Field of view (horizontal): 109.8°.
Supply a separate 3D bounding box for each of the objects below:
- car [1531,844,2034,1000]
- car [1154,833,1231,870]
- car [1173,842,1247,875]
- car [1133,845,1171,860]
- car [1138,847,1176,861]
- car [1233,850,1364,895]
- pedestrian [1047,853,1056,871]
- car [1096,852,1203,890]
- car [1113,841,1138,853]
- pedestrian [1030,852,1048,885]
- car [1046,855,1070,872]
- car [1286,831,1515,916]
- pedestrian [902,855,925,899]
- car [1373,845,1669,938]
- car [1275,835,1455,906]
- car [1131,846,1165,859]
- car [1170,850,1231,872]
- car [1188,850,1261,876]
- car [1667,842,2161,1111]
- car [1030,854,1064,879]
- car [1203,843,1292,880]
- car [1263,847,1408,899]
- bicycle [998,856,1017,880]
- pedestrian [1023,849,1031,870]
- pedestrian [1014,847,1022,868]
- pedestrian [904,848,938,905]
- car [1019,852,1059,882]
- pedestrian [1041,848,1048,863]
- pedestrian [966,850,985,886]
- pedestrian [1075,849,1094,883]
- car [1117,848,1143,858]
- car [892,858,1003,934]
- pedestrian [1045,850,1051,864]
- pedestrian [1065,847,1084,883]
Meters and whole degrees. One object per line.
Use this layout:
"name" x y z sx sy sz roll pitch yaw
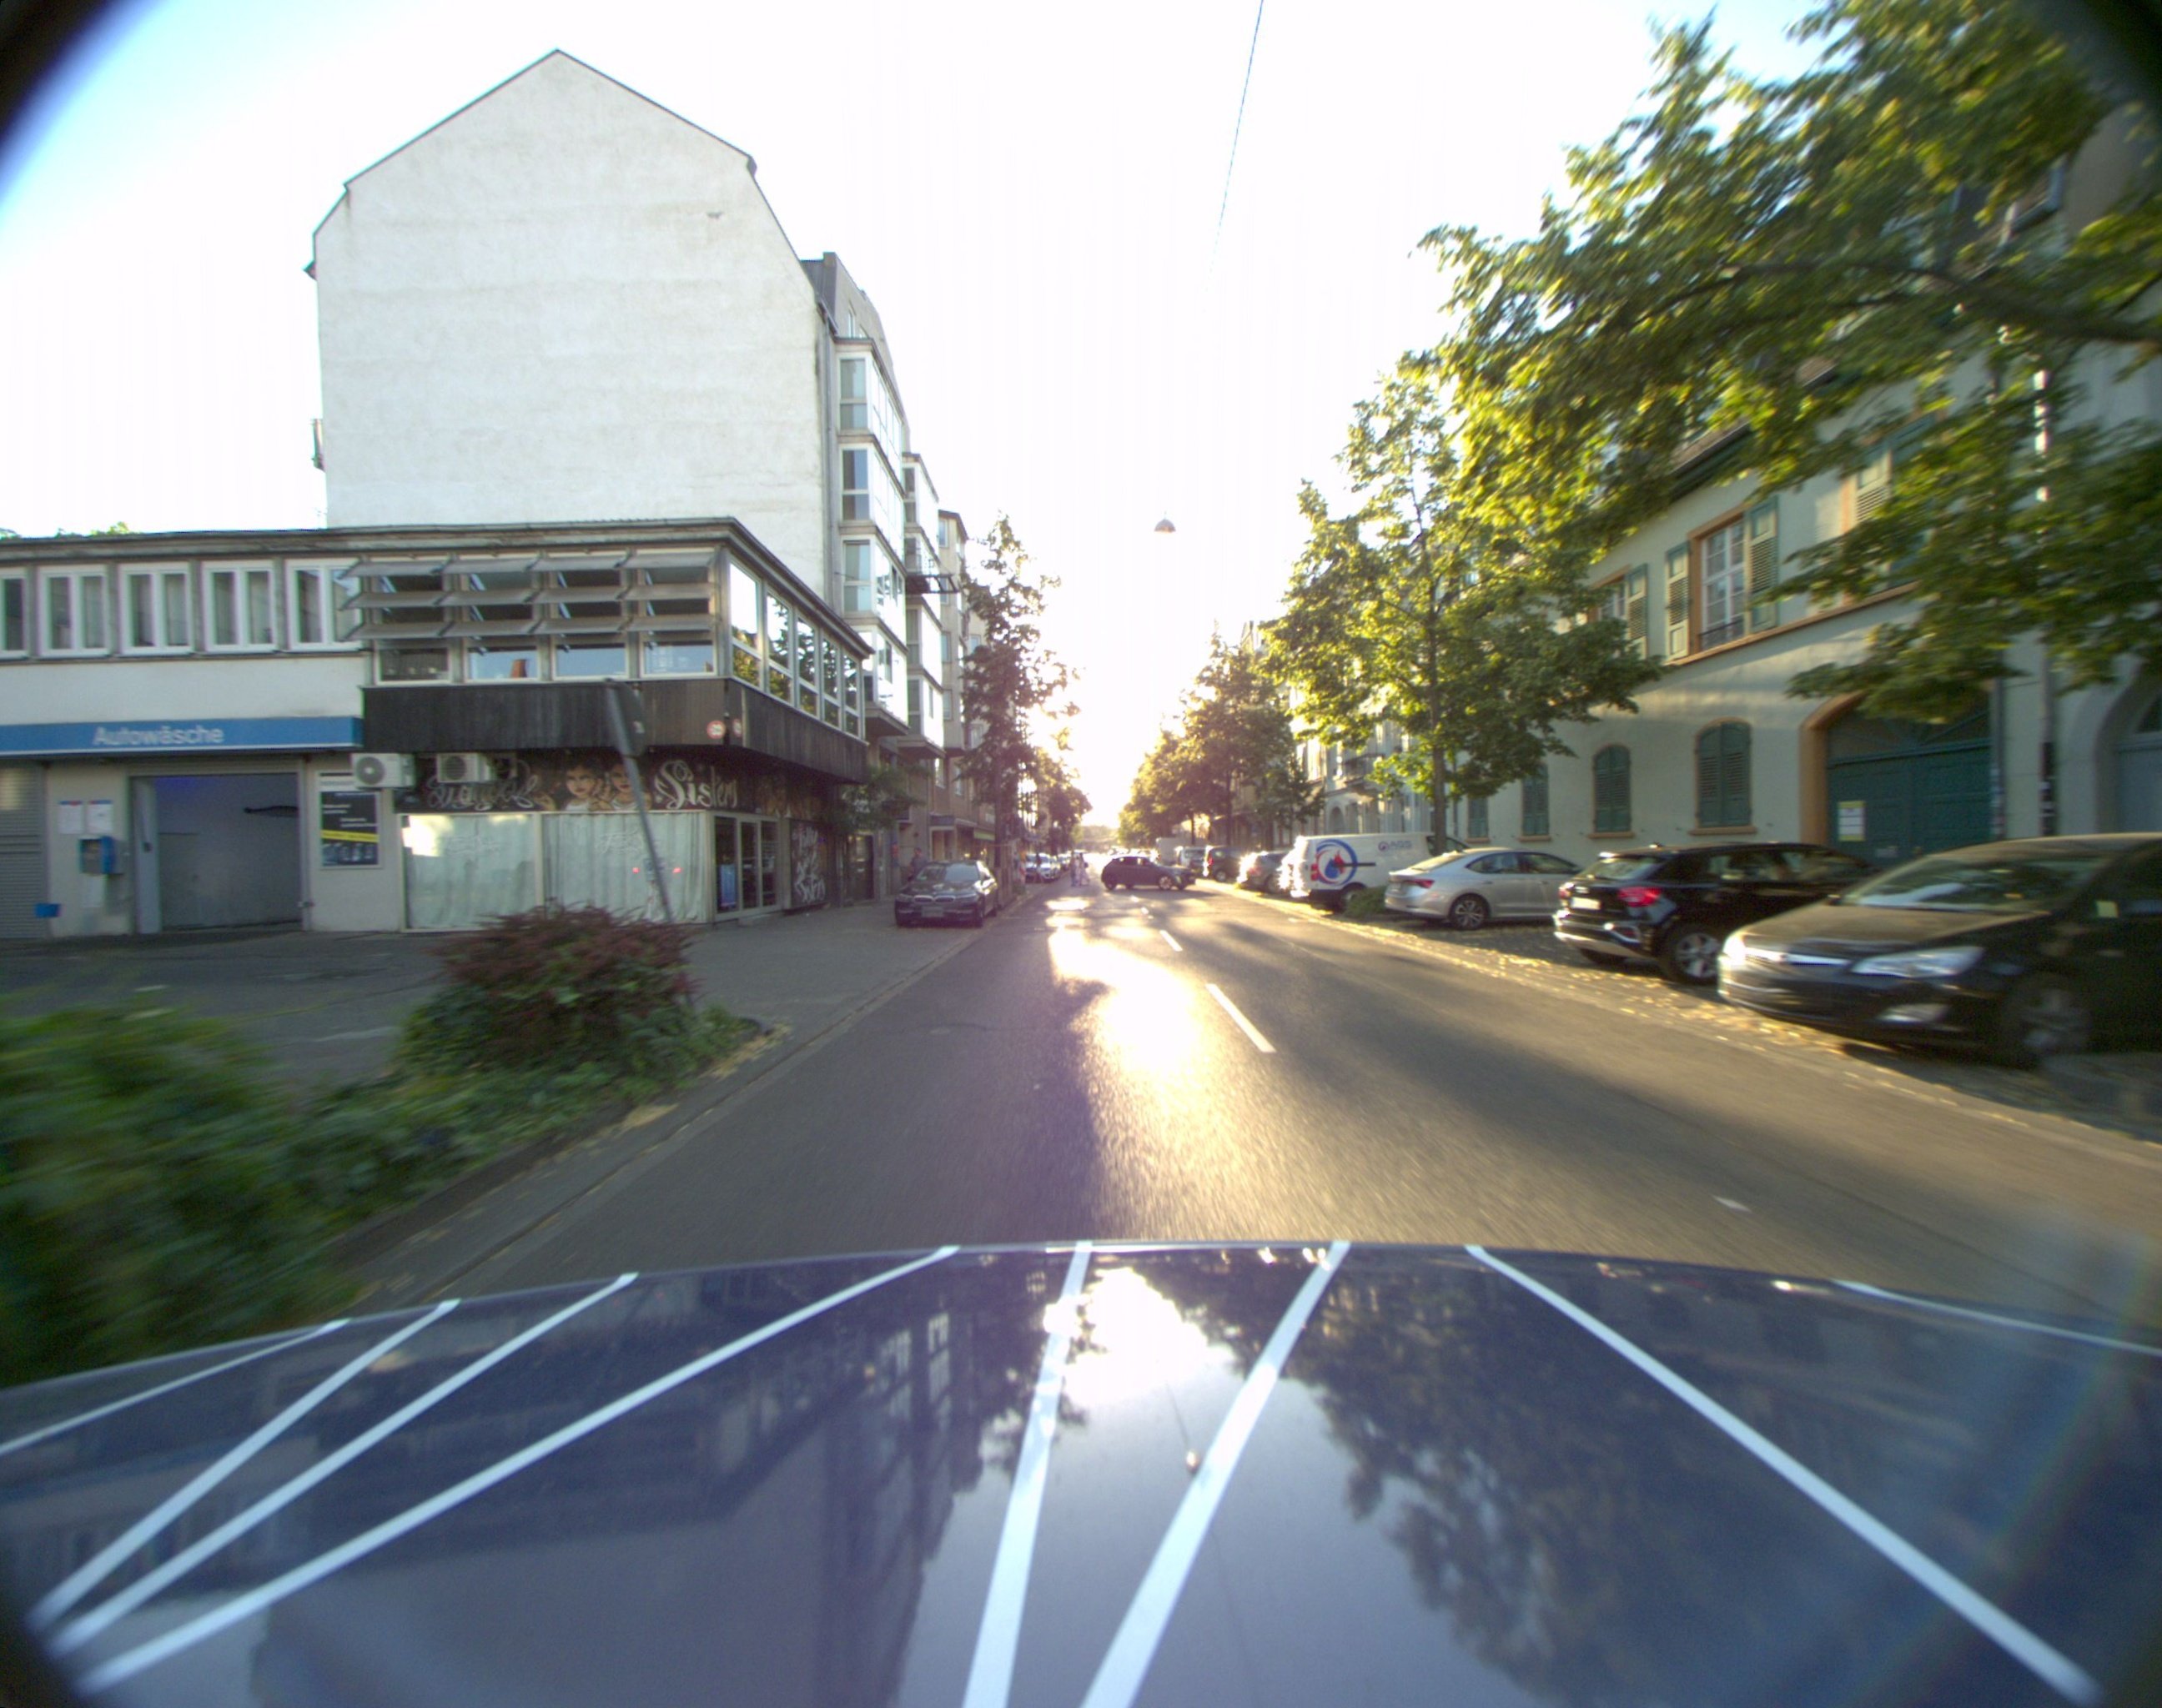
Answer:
"car" 7.752 0.706 8.774 3.932 1.492 1.905 -2 0 3
"car" 8.733 -0.216 59.807 5.672 2.606 2.171 -3 1 1
"car" 8.293 0.279 49.197 4.510 1.942 1.919 -2 1 3
"car" 9.251 -0.190 99.147 4.718 1.800 2.053 -3 0 2
"car" 9.134 -0.032 91.309 4.393 1.414 1.822 -3 0 1
"car" 7.621 0.630 26.920 4.047 1.475 1.963 -1 0 1
"pedestrian" -2.369 0.632 61.632 0.633 1.476 0.795 1 1 1
"car" 2.804 0.694 31.501 4.060 1.453 1.689 -1 1 34
"car" 9.116 -1.372 156.230 4.782 2.344 2.153 -2 1 -27
"pedestrian" -2.109 0.723 38.026 0.829 1.629 0.827 -1 1 2
"car" -2.115 0.825 70.298 1.778 1.432 5.000 1 0 3
"car" 7.836 0.463 18.990 4.882 1.897 1.974 -1 1 1
"pedestrian" -5.874 0.815 26.745 0.612 1.517 0.773 0 1 1
"car" 8.064 0.663 14.261 4.488 1.476 1.734 -2 0 3
"car" 8.041 0.443 21.798 4.439 1.859 1.894 -1 1 2
"car" 9.305 -0.220 105.936 4.567 1.772 1.946 -1 1 0
"car" 8.541 0.471 54.477 3.997 1.396 1.749 -2 2 0
"car" 8.691 0.542 46.348 4.162 1.431 1.594 -2 0 2
"car" 7.227 0.730 5.694 4.338 1.492 1.841 -2 0 -4
"car" -2.140 0.754 49.439 1.846 1.472 5.189 1 0 1
"car" 8.445 0.367 38.832 4.147 1.796 1.807 -1 1 3
"car" 8.089 0.583 24.444 4.046 1.546 1.965 -1 0 3
"bicycle" -4.022 0.738 41.590 0.777 1.255 2.050 1 1 2
"pedestrian" -4.766 0.473 67.374 0.627 1.857 0.976 1 1 1
"pedestrian" -5.563 0.299 67.267 0.590 1.799 0.835 1 1 1
"pedestrian" -5.052 0.697 24.043 0.858 1.784 0.997 0 1 1
"car" -2.315 0.688 43.205 1.884 1.565 4.692 1 0 1
"pedestrian" -4.521 0.193 93.921 0.756 1.748 0.812 -1 1 1
"pedestrian" -4.998 0.650 36.137 0.790 1.694 0.700 0 1 1
"pedestrian" 0.173 0.579 38.102 0.924 1.685 0.762 -1 1 2
"car" 9.013 -0.189 139.291 4.579 1.548 1.809 -2 1 -37
"car" -2.989 0.877 18.044 1.833 1.479 4.848 1 0 -1
"pedestrian" -3.503 0.296 80.088 0.626 1.480 0.640 0 1 2
"pedestrian" -0.321 0.537 37.324 0.924 1.749 0.762 0 1 2
